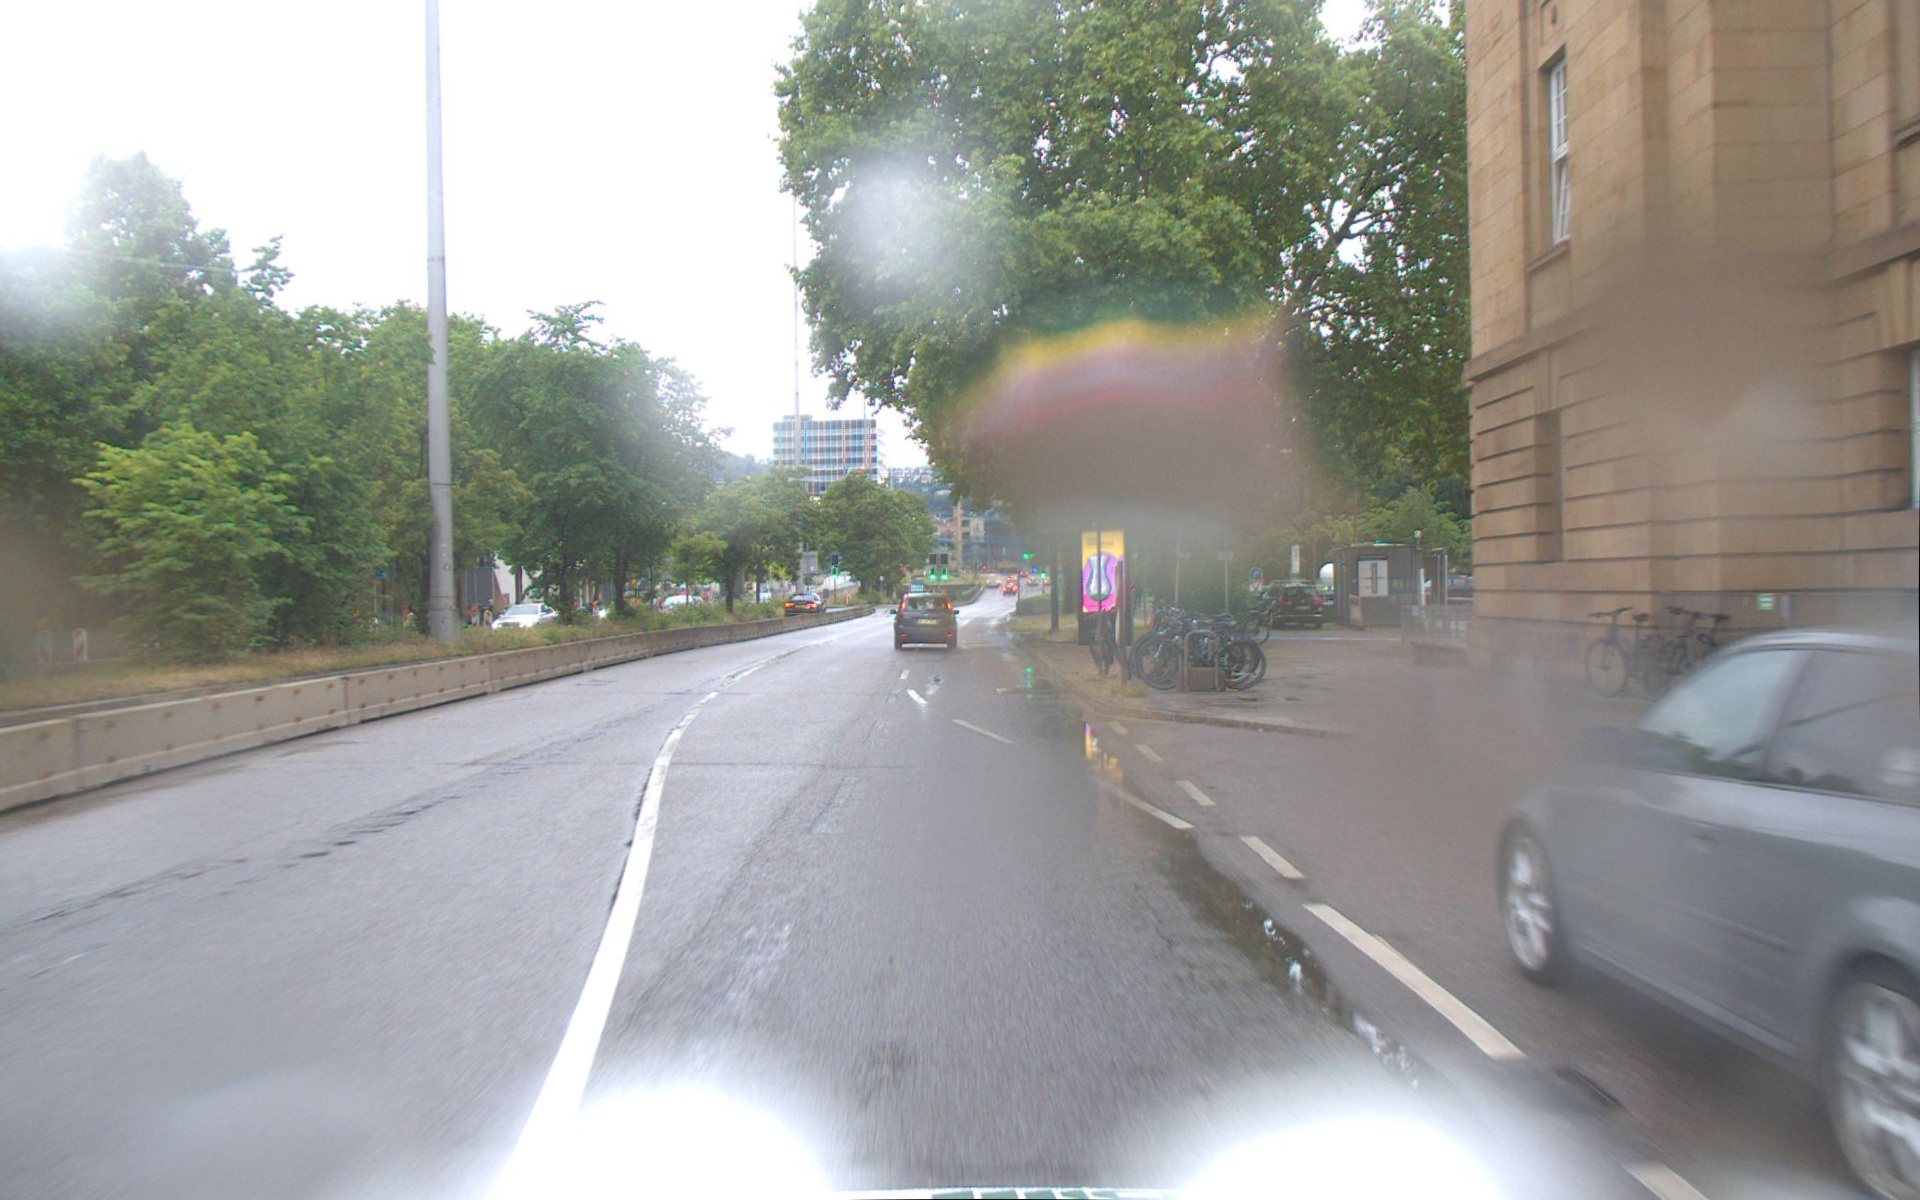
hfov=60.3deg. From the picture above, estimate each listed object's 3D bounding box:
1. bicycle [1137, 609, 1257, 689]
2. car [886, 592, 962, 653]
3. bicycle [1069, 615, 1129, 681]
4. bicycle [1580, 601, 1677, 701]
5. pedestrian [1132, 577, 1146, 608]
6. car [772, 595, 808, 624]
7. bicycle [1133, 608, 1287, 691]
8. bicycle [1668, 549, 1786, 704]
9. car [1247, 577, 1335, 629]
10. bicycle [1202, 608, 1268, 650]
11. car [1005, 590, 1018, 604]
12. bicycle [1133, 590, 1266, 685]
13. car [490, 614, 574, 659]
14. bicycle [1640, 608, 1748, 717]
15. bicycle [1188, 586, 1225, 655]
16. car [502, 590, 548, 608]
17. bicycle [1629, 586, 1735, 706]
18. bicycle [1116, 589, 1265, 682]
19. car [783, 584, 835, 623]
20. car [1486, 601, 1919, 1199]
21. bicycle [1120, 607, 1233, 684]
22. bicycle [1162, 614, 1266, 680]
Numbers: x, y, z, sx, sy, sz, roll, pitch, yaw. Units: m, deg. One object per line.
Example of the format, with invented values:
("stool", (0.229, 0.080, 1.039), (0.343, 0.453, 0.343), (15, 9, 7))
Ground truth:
("bicycle", (3.407, 0.703, 23.890), (1.644, 1.109, 0.651), (-1, 0, 2))
("car", (-0.986, 0.593, 43.604), (1.807, 1.441, 3.836), (-3, -1, -4))
("bicycle", (2.211, 0.748, 26.174), (0.655, 0.984, 1.638), (-1, 0, 15))
("bicycle", (7.781, 0.580, 19.317), (0.345, 1.099, 1.789), (-3, -1, -1))
("pedestrian", (10.196, -0.438, 94.316), (0.690, 1.748, 0.693), (-3, 0, 2))
("car", (-8.858, 0.503, 86.459), (1.720, 1.477, 3.997), (1, 0, -4))
("bicycle", (3.377, 0.665, 22.442), (1.945, 1.078, 0.759), (-1, 0, -3))
("bicycle", (7.997, 0.267, 17.302), (0.444, 1.542, 1.599), (1, 0, -1))
("car", (11.450, 0.063, 57.617), (1.953, 1.637, 5.236), (-1, 1, -1))
("bicycle", (7.068, 0.742, 42.553), (1.606, 1.038, 0.575), (1, -1, 5))
("car", (7.270, -0.434, 234.238), (1.703, 1.802, 4.001), (-3, -1, 3))
("bicycle", (3.503, 0.545, 24.284), (1.866, 1.356, 0.651), (-1, 0, 2))
("car", (-17.522, 1.473, 67.925), (1.952, 1.653, 4.809), (-3, -1, 2))
("bicycle", (7.825, 0.643, 17.698), (0.345, 1.099, 1.789), (0, -1, -1))
("bicycle", (4.542, 0.375, 30.551), (0.592, 1.218, 1.906), (-3, -1, 8))
("car", (-41.814, -0.137, 159.096), (3.906, 1.624, 2.000), (-1, 0, -1))
("bicycle", (8.024, 0.489, 18.438), (0.444, 1.273, 1.599), (1, 0, -1))
("bicycle", (3.453, 0.526, 24.877), (2.145, 1.360, 0.650), (-1, 0, 2))
("car", (-7.535, 0.150, 82.854), (1.952, 1.812, 4.002), (-2, 0, 3))
("car", (3.117, 0.751, 4.980), (1.892, 1.504, 3.703), (-1, -1, 0))
("bicycle", (3.283, 0.686, 25.196), (1.644, 1.142, 0.601), (-1, 0, 2))
("bicycle", (3.978, 0.733, 25.932), (1.556, 1.012, 0.525), (-1, 0, 2))
